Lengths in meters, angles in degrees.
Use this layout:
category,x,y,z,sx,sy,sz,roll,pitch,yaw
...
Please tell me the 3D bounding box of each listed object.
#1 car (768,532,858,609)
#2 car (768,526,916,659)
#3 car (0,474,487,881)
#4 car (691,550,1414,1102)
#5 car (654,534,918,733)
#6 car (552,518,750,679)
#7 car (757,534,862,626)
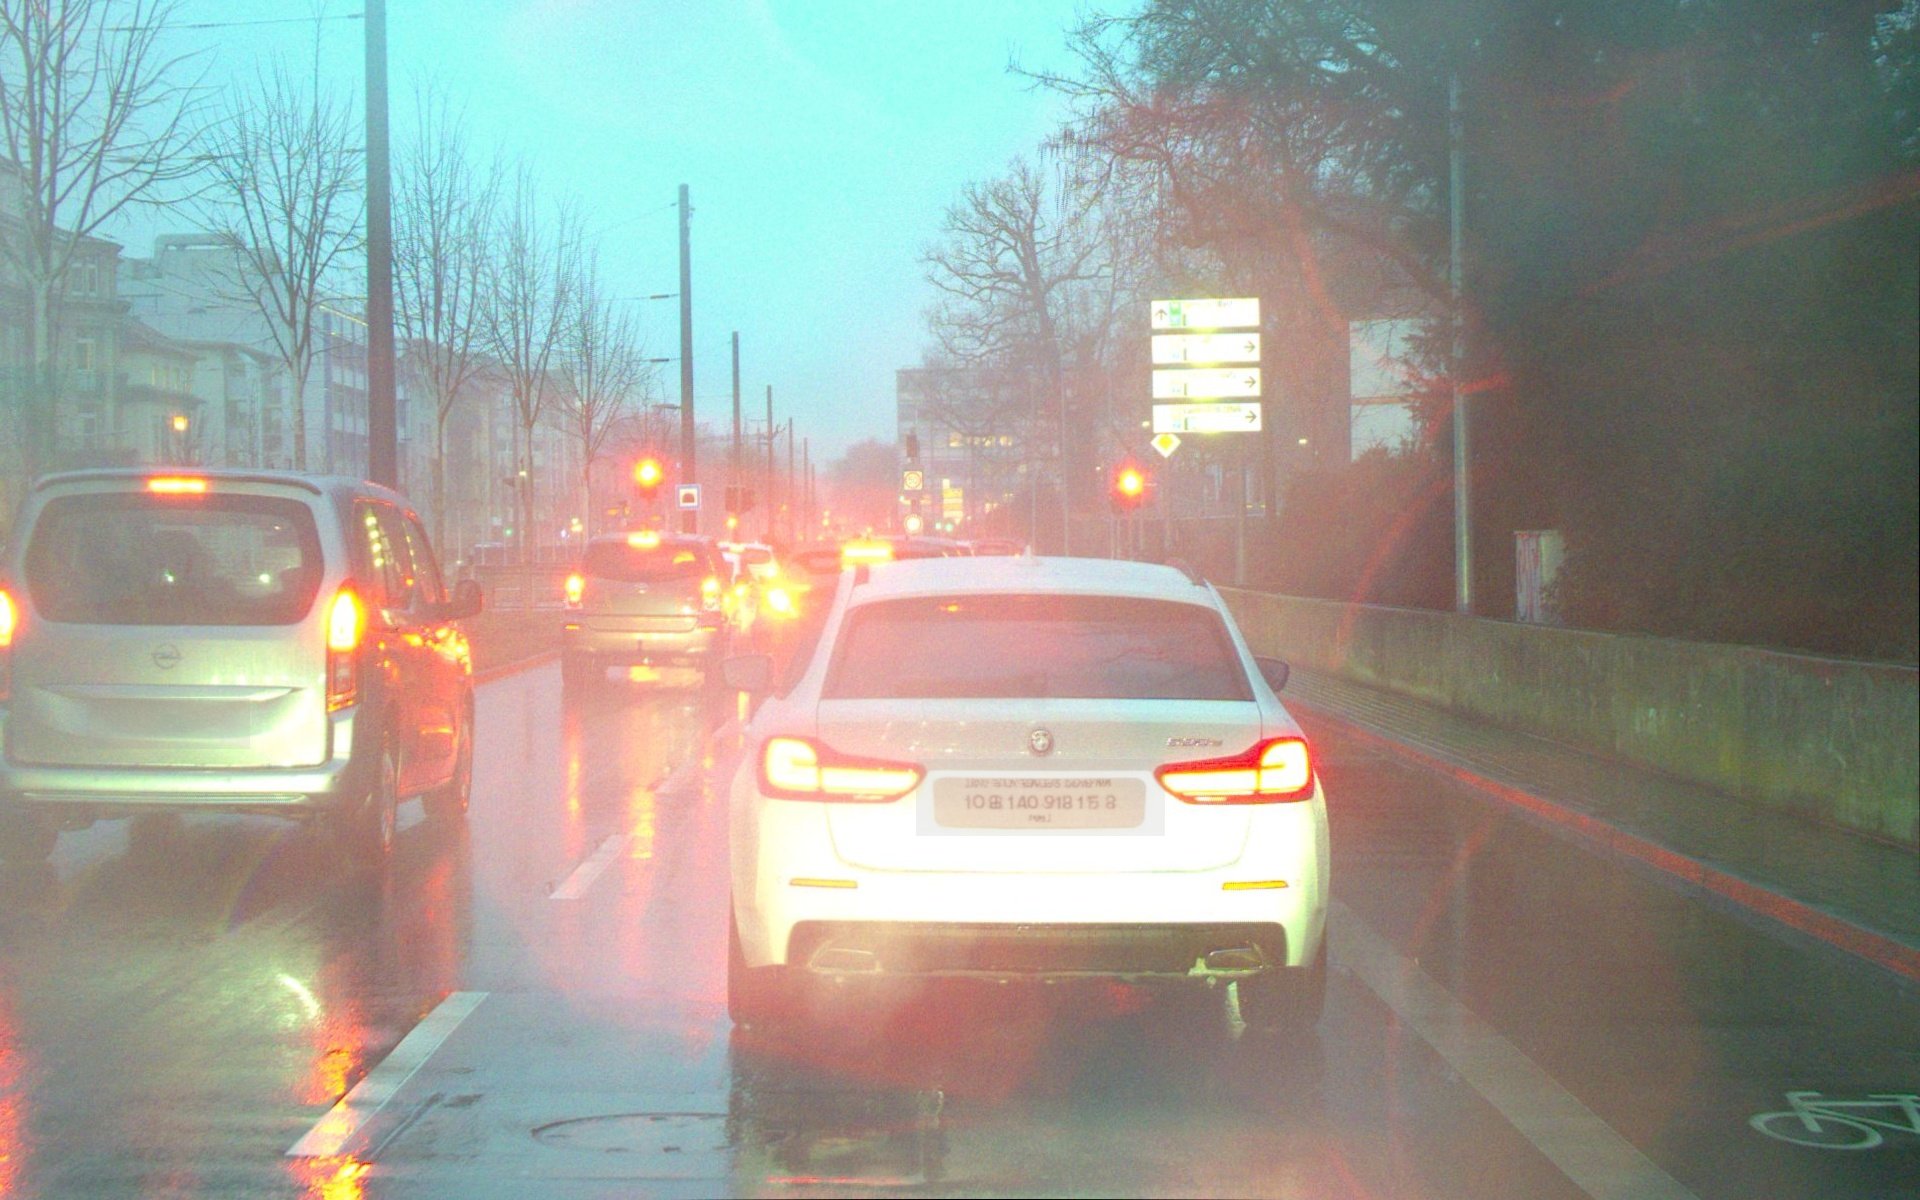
category,x,y,z,sx,sy,sz,roll,pitch,yaw
car,-3.187,-0.667,75.151,1.806,1.640,4.000,1,1,0
car,-1.493,-0.130,44.703,1.806,1.640,4.000,1,1,0
car,-3.467,0.304,17.050,1.793,1.730,4.538,1,1,-3
car,0.233,0.598,11.604,1.999,1.503,4.164,0,1,-1
car,-1.310,0.208,27.432,1.936,1.452,4.164,0,1,-1
car,-3.296,-0.058,37.300,1.806,1.640,4.000,1,1,0
car,-2.784,-0.394,64.277,1.806,1.640,4.000,1,1,0
